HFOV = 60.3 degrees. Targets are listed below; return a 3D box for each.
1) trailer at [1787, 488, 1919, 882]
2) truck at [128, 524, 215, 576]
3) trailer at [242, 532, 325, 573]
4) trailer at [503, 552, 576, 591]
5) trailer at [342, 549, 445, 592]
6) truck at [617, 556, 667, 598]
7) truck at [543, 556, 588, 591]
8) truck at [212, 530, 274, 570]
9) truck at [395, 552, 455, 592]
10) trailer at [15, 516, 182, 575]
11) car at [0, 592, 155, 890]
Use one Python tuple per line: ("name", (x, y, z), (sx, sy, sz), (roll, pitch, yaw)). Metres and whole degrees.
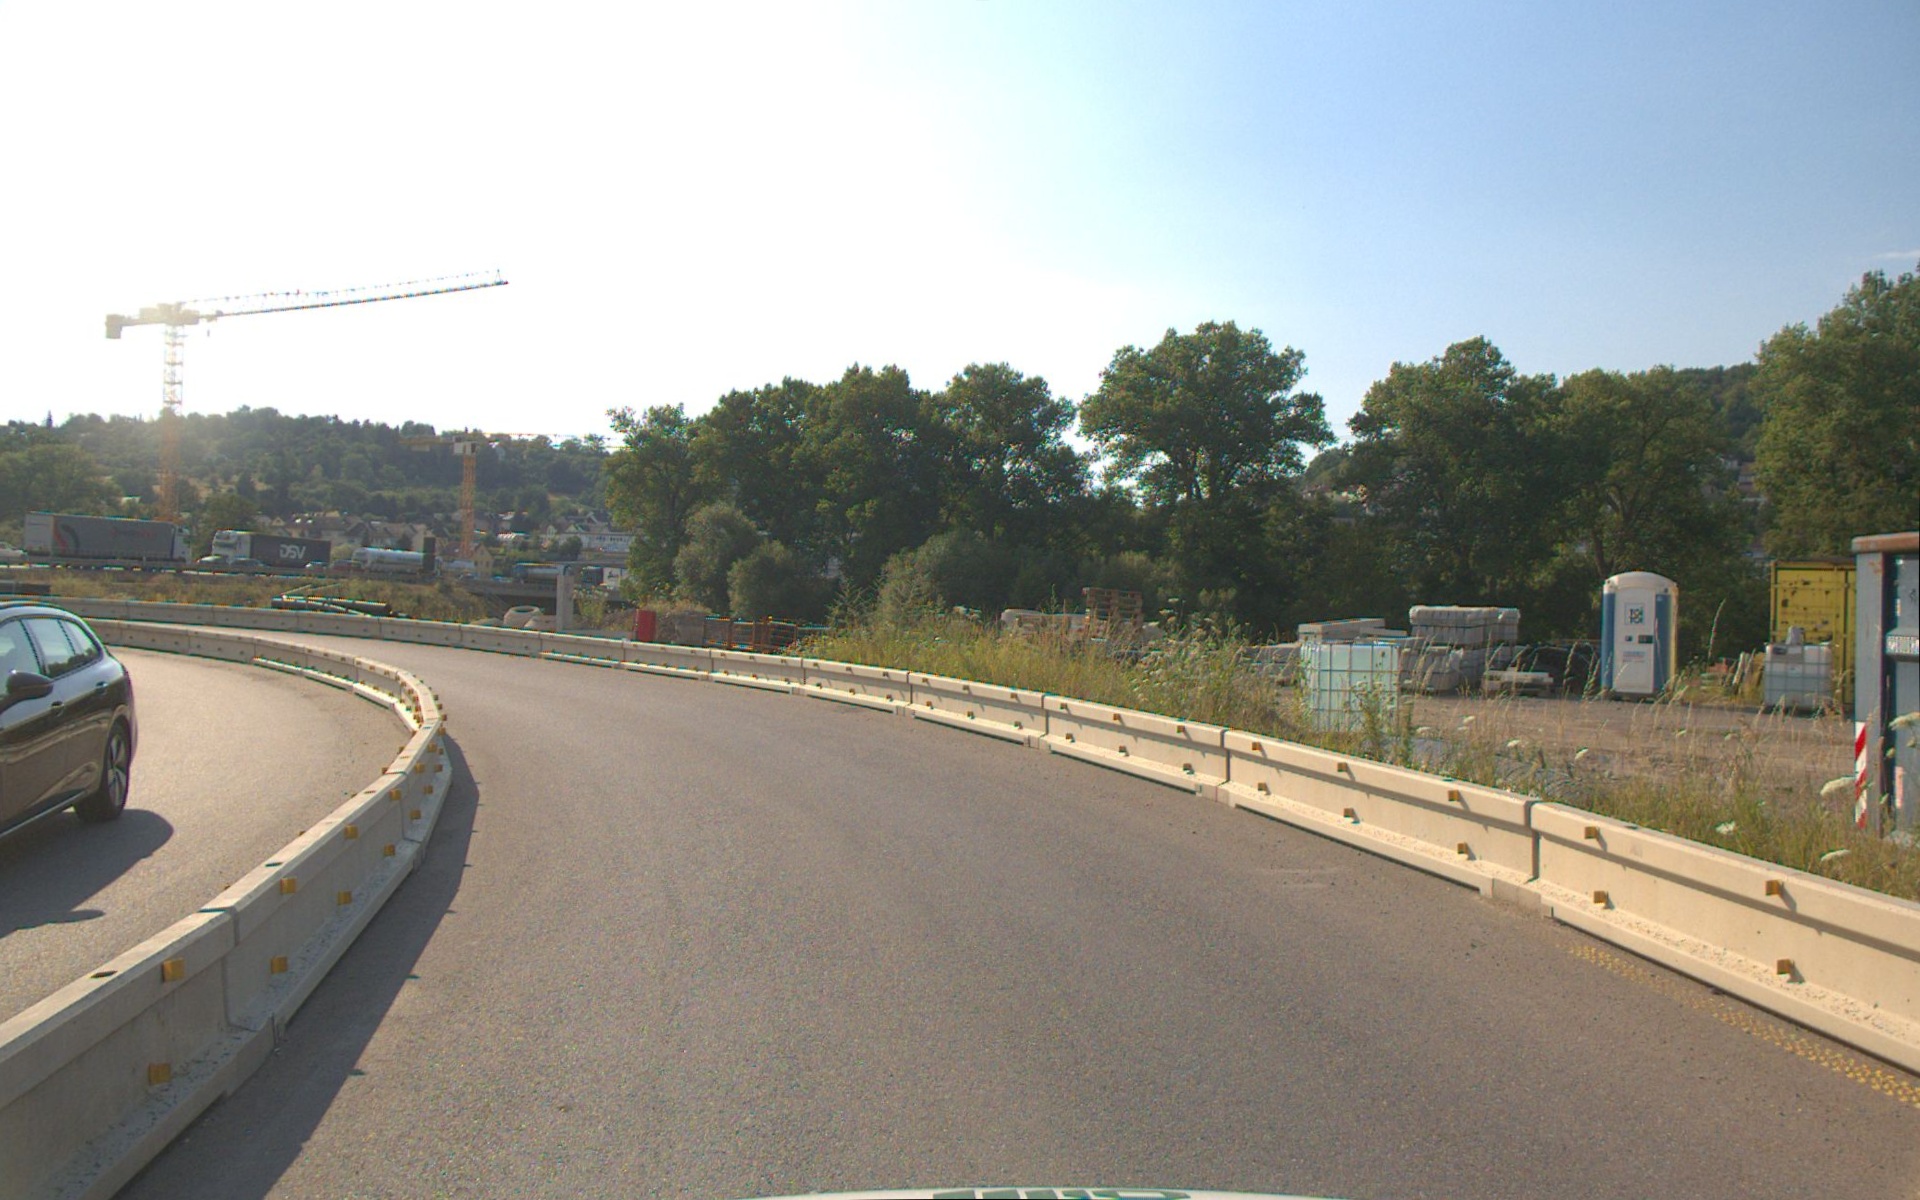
("trailer", (7.373, 0.572, 8.407), (2.941, 2.456, 7.231), (2, 0, 3))
("truck", (-67.499, -4.208, 141.808), (3.272, 4.066, 6.630), (3, 0, 11))
("trailer", (-70.243, -4.913, 172.024), (2.942, 3.817, 9.578), (1, 0, 12))
("trailer", (-53.438, -3.533, 210.732), (3.037, 4.389, 14.263), (3, 0, 11))
("trailer", (-60.299, -3.089, 176.792), (3.313, 4.066, 14.757), (3, 0, 11))
("truck", (-46.595, -3.311, 242.789), (3.096, 5.973, 10.684), (1, 0, 12))
("truck", (-51.967, -3.480, 218.140), (3.032, 4.360, 6.630), (3, 0, 11))
("truck", (-71.676, -4.965, 165.441), (2.932, 3.792, 5.693), (1, 0, 12))
("truck", (-59.115, -3.028, 182.815), (3.318, 4.066, 6.630), (3, 0, 11))
("trailer", (-69.148, -4.272, 133.385), (3.313, 4.066, 14.757), (3, 0, 11))
("car", (-6.084, 0.736, 9.544), (1.681, 1.545, 4.498), (0, 0, -14))
